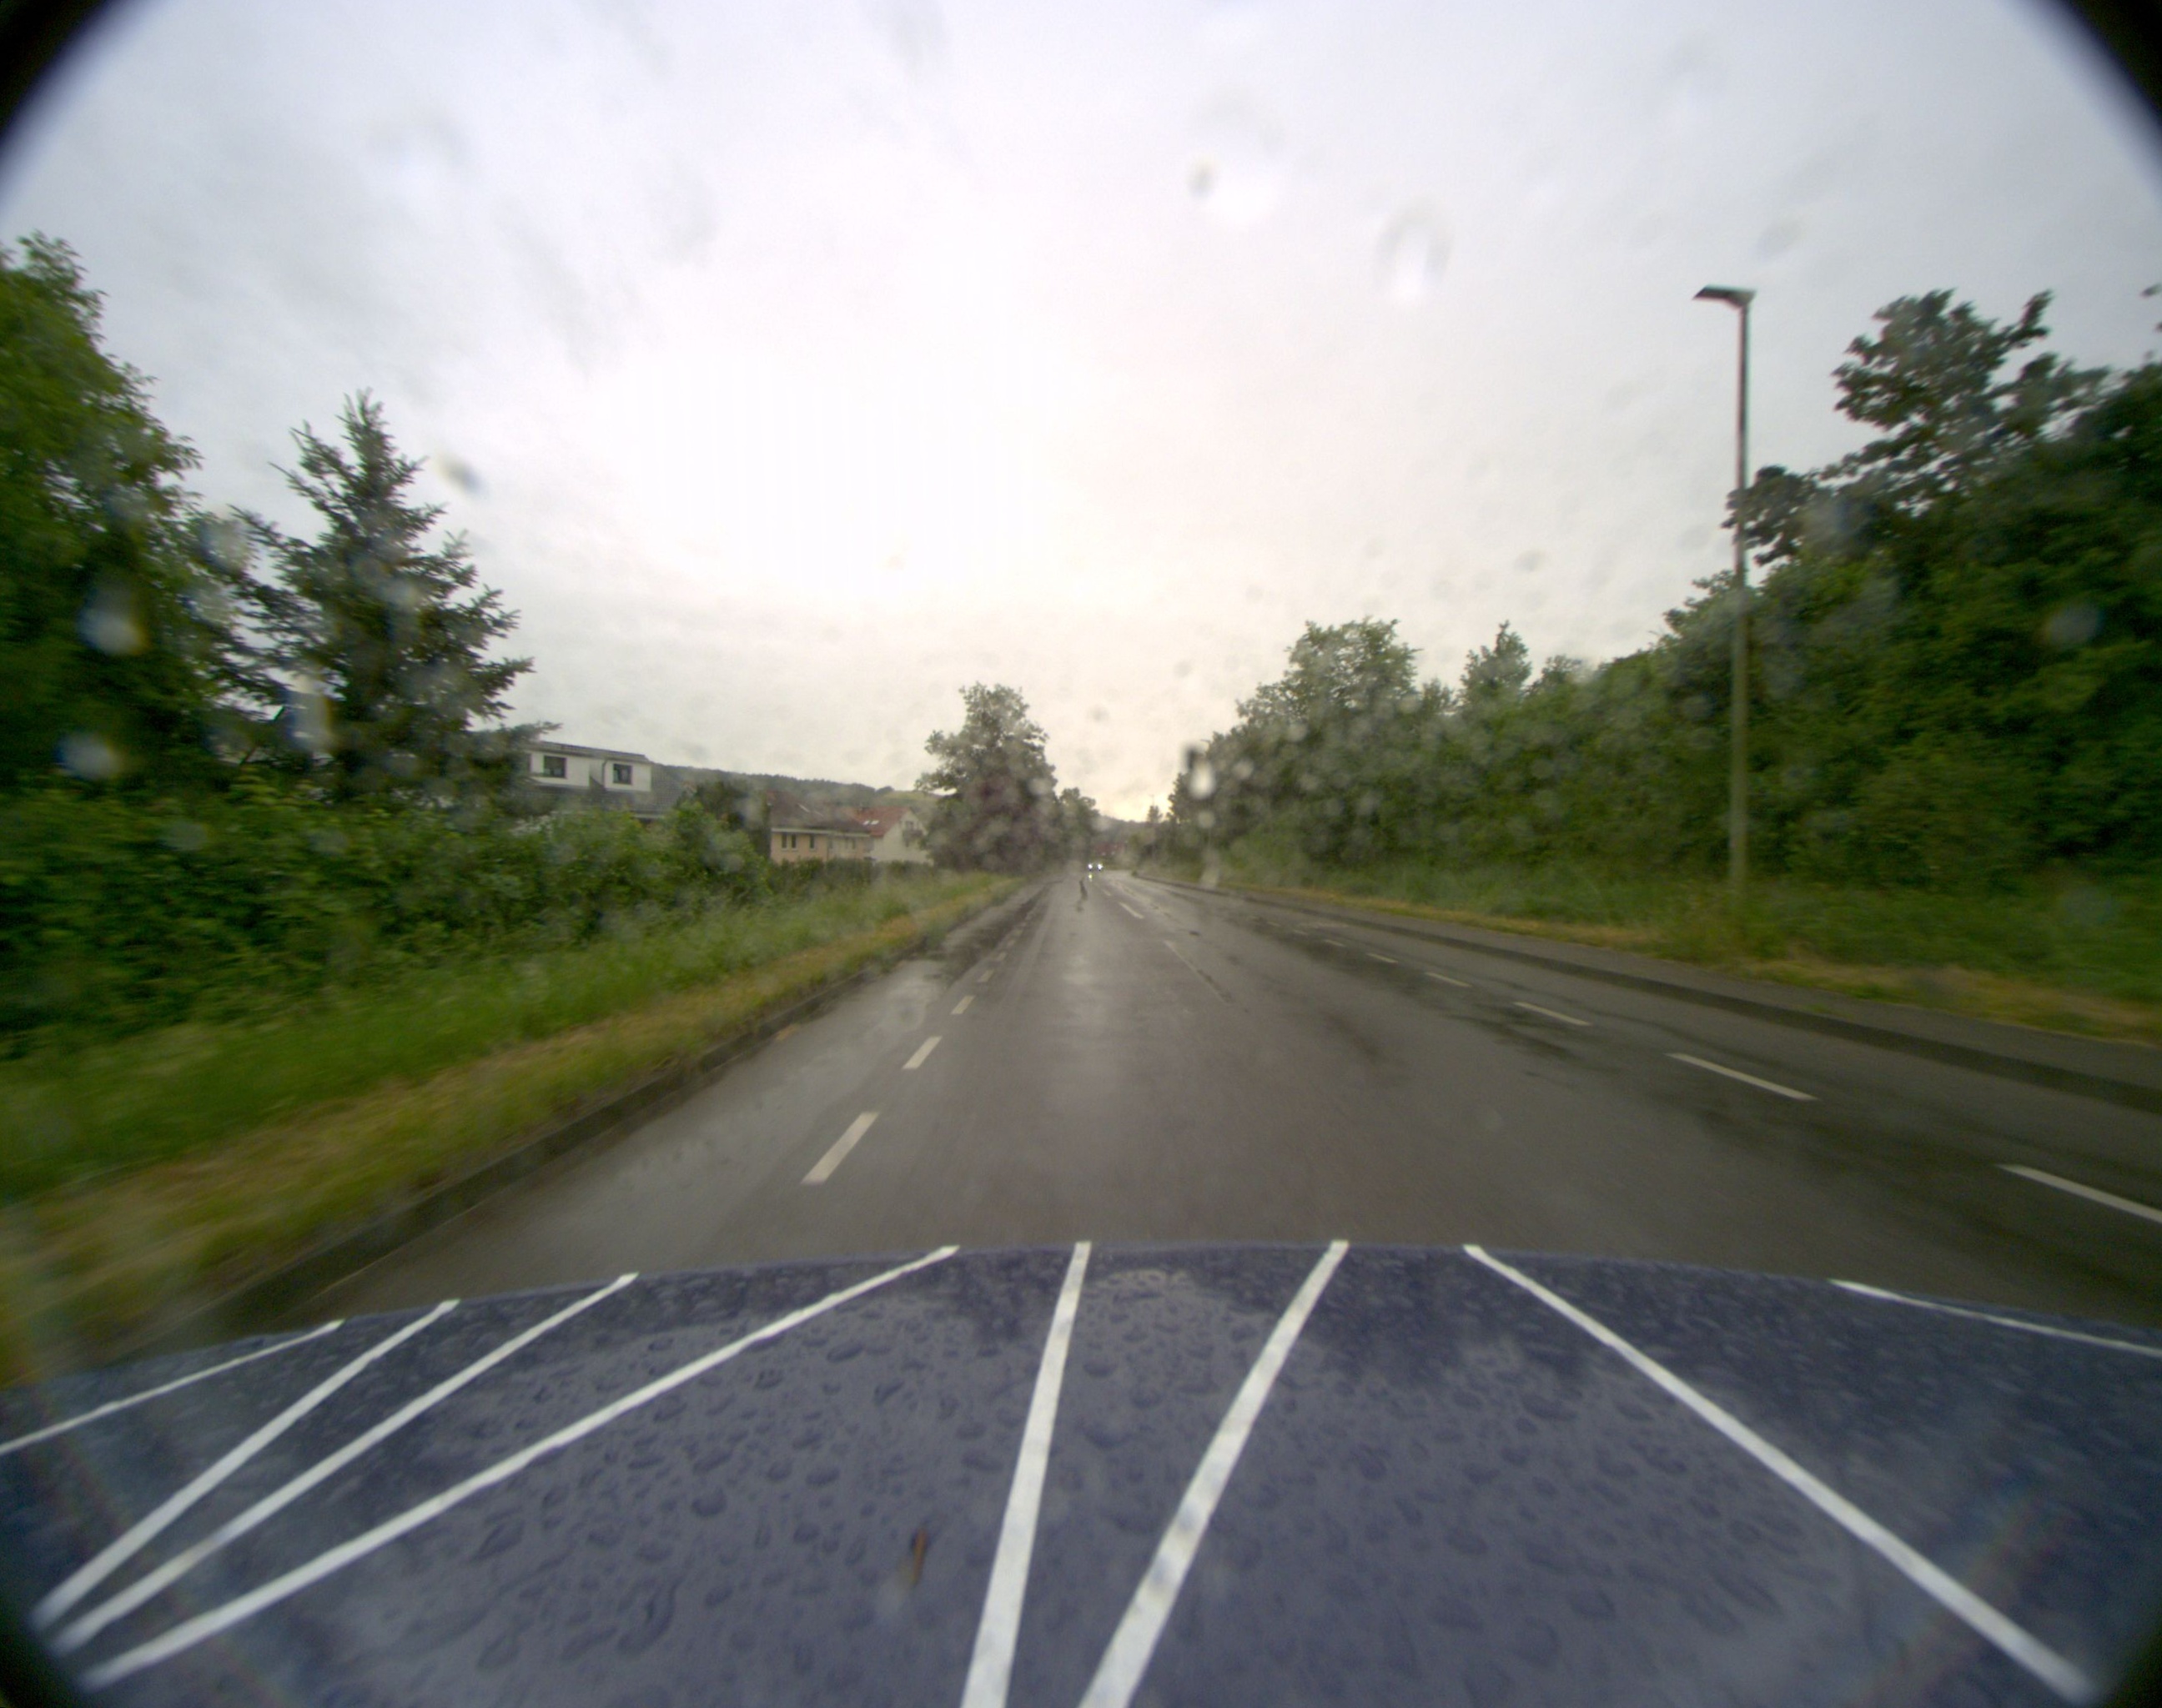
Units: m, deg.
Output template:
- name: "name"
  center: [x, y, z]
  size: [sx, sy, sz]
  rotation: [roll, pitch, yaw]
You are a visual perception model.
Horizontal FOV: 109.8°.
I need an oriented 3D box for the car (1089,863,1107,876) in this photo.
- name: "car"
  center: [2.427, 2.235, 108.796]
  size: [1.997, 1.831, 4.003]
  rotation: [-1, 0, 10]
